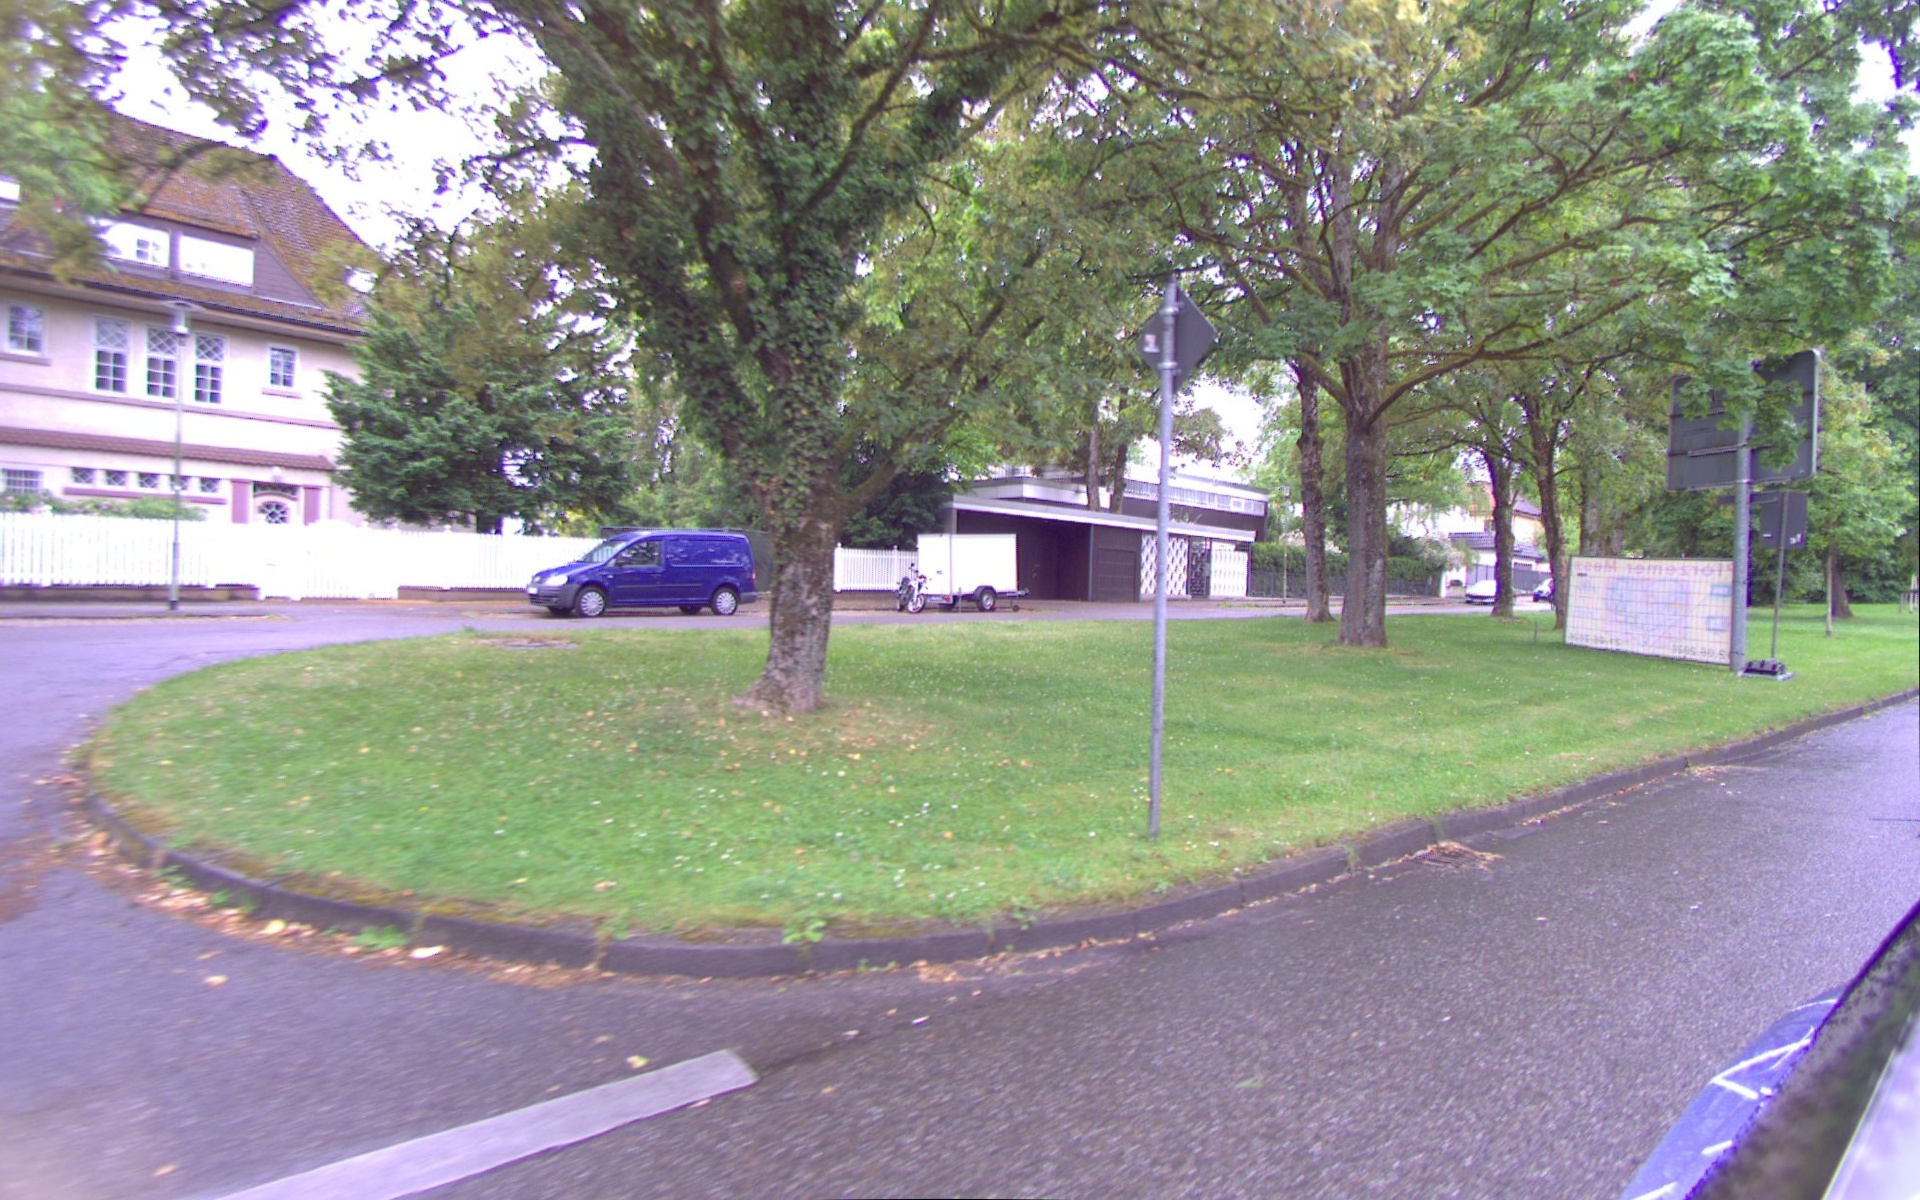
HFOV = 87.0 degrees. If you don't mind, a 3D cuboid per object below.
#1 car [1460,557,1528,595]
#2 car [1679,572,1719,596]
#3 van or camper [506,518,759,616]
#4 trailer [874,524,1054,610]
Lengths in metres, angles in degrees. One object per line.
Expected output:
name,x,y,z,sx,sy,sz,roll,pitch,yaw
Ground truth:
car,29.775,-1.340,56.424,3.930,2.038,1.998,0,3,-41
car,64.598,-1.381,88.456,3.930,2.039,1.997,-1,0,-41
van or camper,-6.771,-0.641,21.292,1.994,1.831,4.699,0,0,45
trailer,0.206,-0.847,27.602,5.106,2.143,1.768,-1,0,-43
